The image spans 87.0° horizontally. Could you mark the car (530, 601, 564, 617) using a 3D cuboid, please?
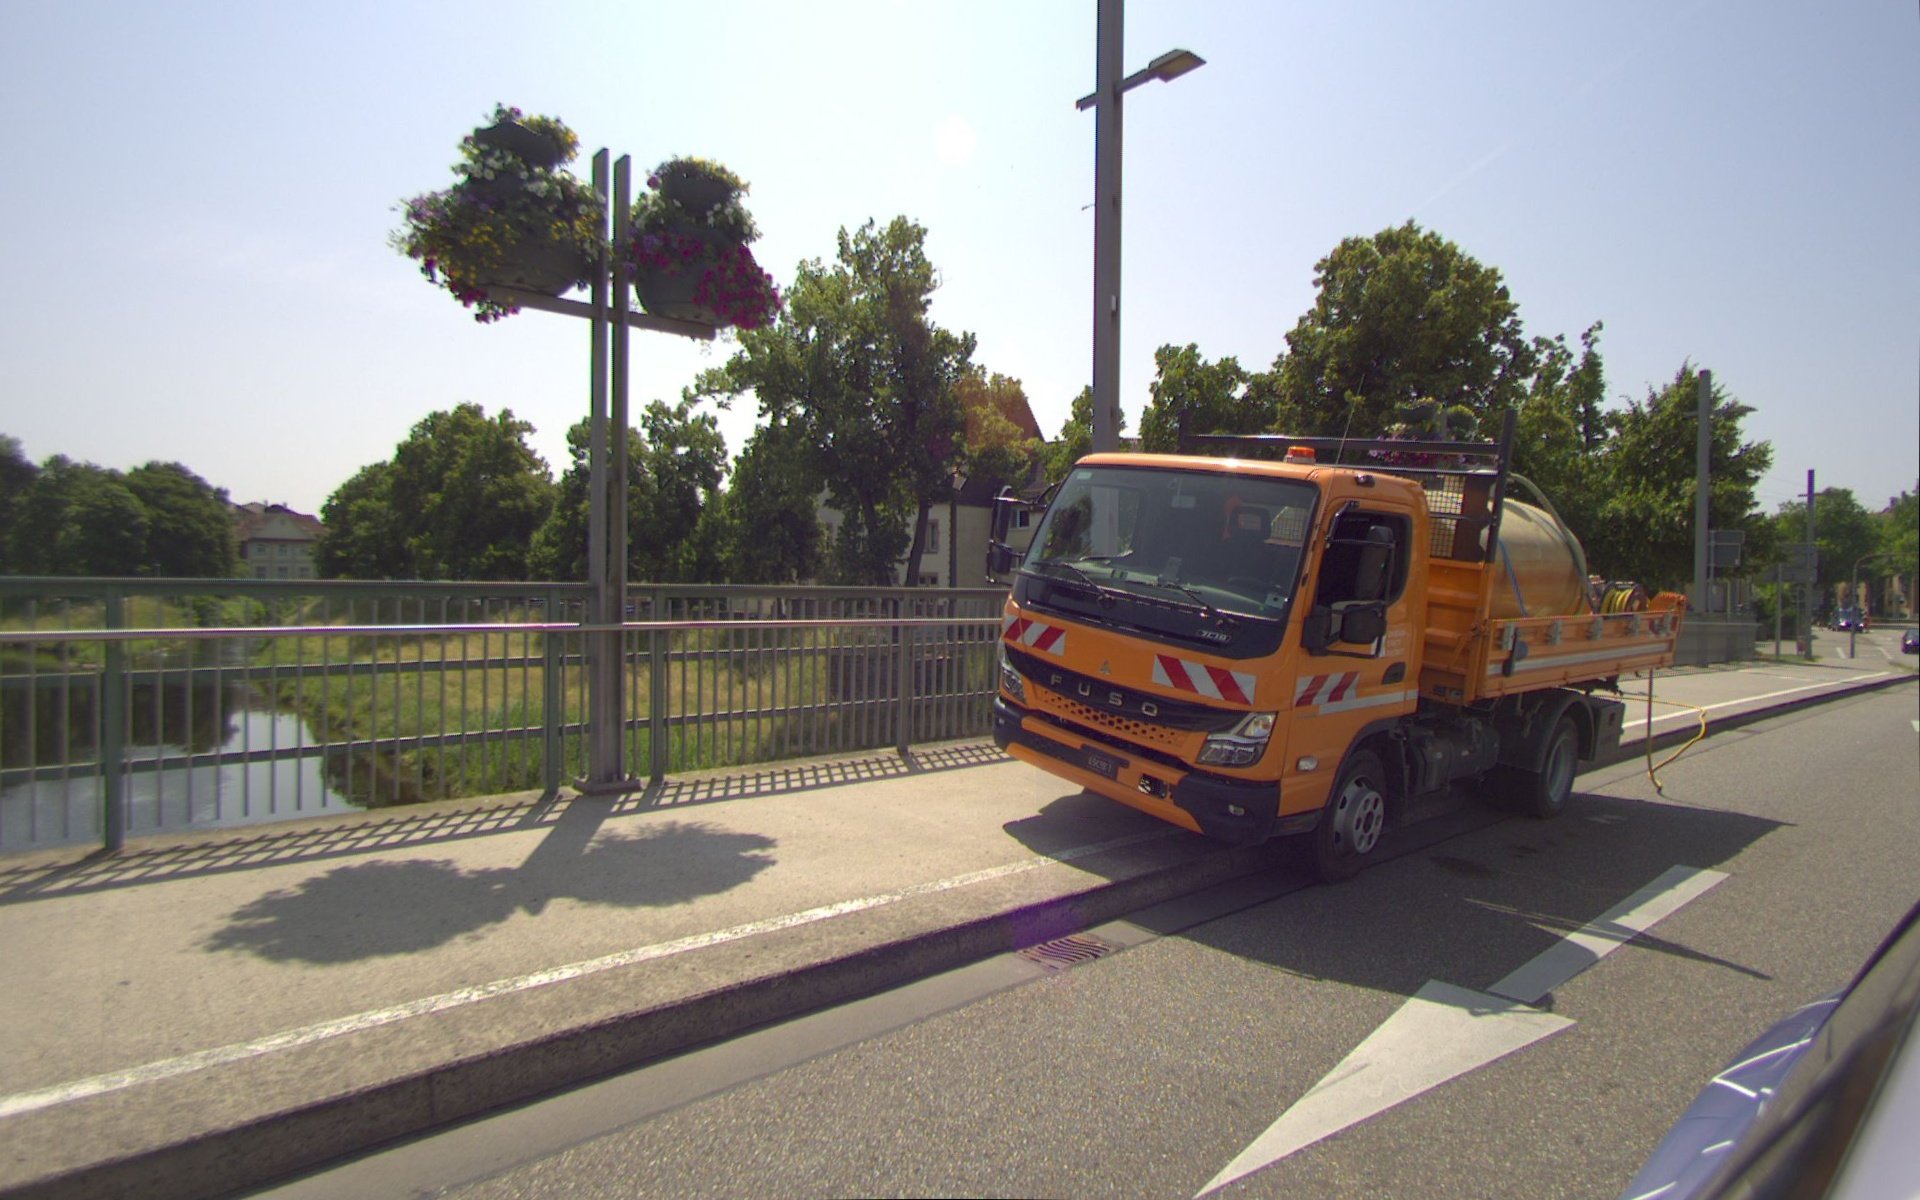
[{"bbox_3d":[-42.092,0.974,103.195,1.798,1.572,4.119,1,-2,-45],"label":"car"}]

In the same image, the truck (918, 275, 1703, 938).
[{"bbox_3d":[2.766,0.003,7.032,5.720,2.725,2.611,0,1,-41],"label":"truck"}]

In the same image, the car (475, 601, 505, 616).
[{"bbox_3d":[-52.874,0.965,113.777,1.798,1.572,3.988,1,-2,-45],"label":"car"}]

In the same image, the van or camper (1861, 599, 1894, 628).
[{"bbox_3d":[88.301,1.273,97.460,2.156,2.614,5.761,0,1,40],"label":"van or camper"}]

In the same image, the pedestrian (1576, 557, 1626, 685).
[{"bbox_3d":[10.252,0.317,16.177,0.546,1.984,0.662,1,1,43],"label":"pedestrian"}]

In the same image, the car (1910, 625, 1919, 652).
[{"bbox_3d":[60.528,2.393,62.957,1.768,1.507,3.944,-1,1,39],"label":"car"}]

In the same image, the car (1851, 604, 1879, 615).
[{"bbox_3d":[122.550,1.299,137.082,1.824,1.417,4.010,1,-1,27],"label":"car"}]
